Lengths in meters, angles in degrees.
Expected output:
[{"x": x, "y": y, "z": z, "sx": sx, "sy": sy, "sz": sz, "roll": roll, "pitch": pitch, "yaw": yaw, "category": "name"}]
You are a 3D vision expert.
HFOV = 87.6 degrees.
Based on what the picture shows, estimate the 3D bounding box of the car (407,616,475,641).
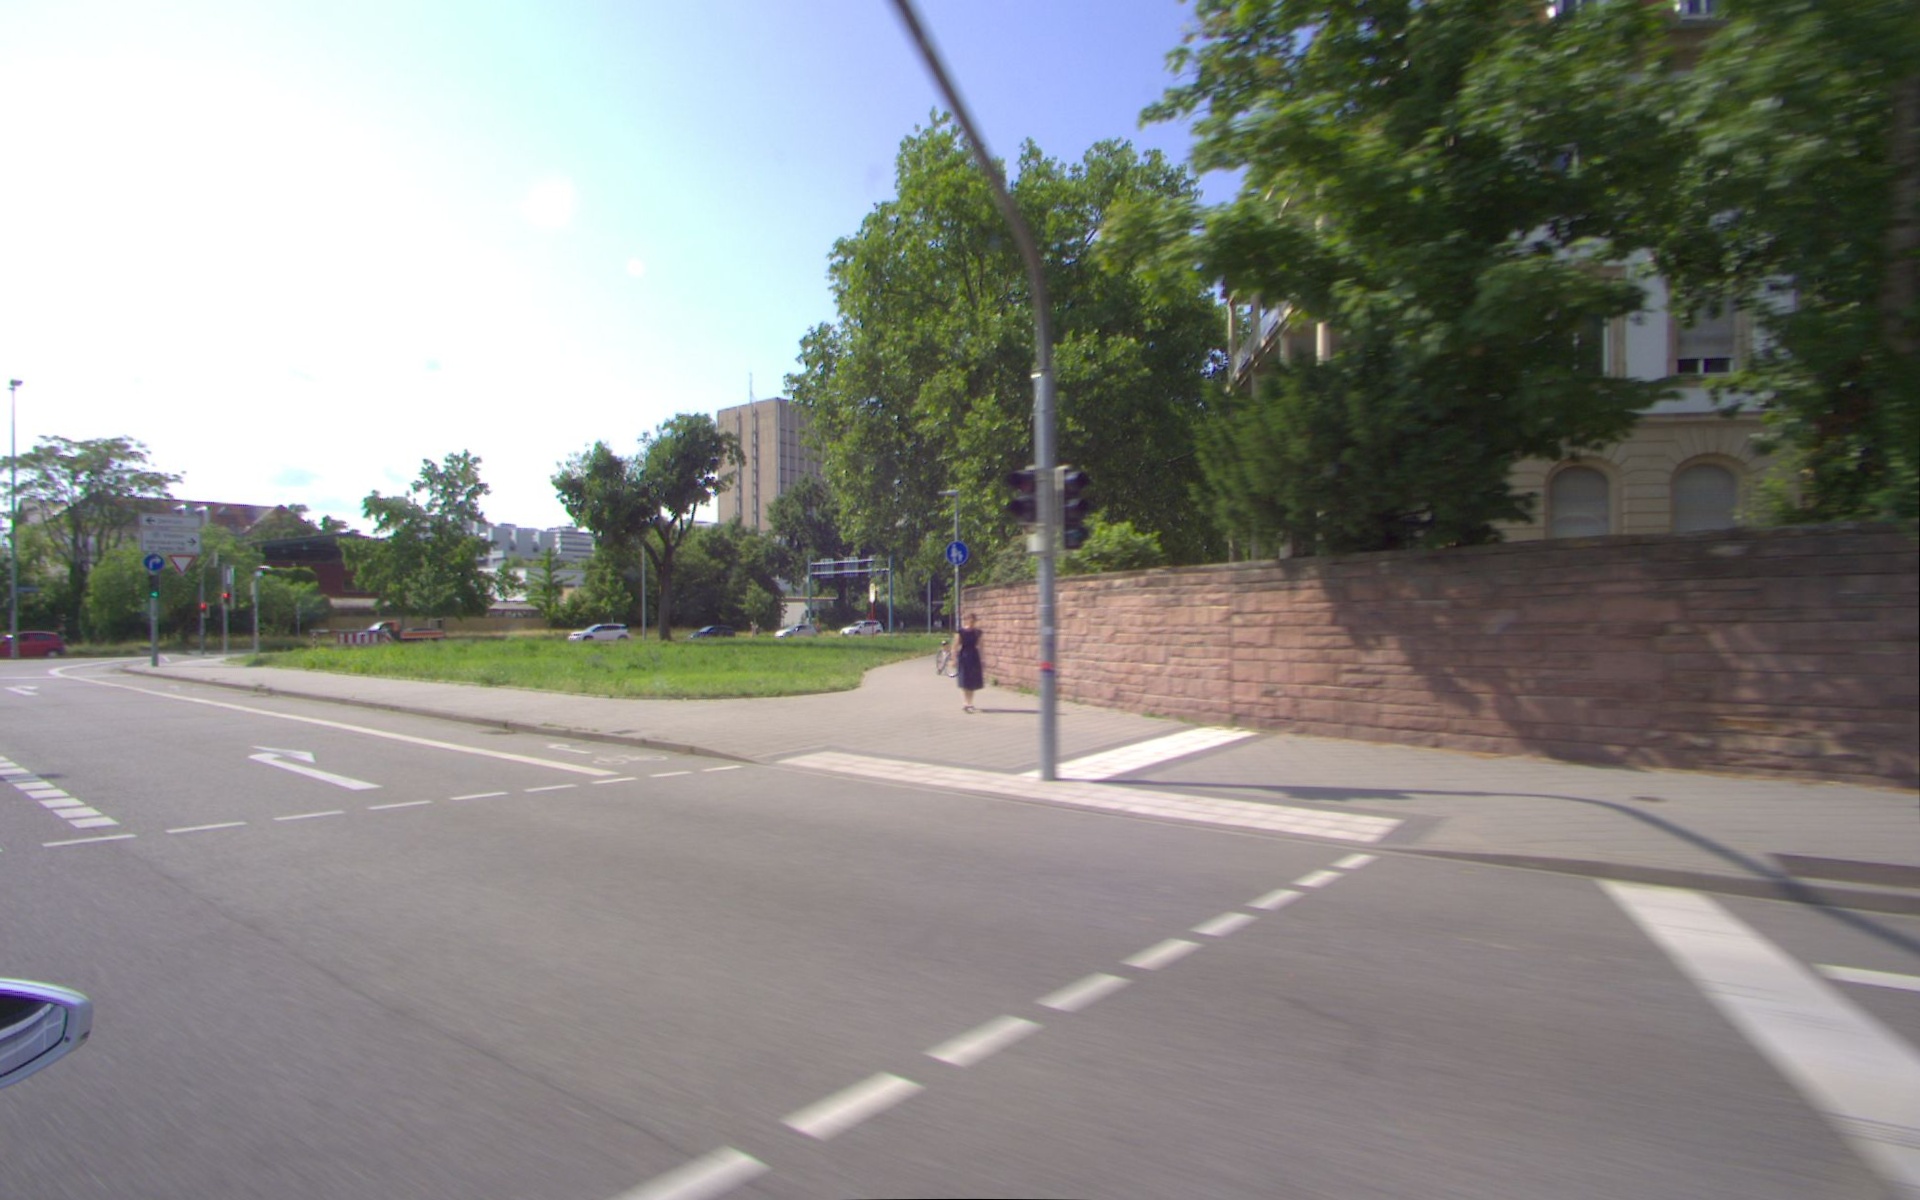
[{"x": -35.598, "y": 1.927, "z": 68.710, "sx": 3.883, "sy": 1.630, "sz": 1.611, "roll": 0, "pitch": -1, "yaw": -42, "category": "car"}]

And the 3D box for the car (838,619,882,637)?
[{"x": -9.315, "y": 2.600, "z": 93.466, "sx": 1.609, "sy": 1.630, "sz": 3.986, "roll": -1, "pitch": -1, "yaw": 43, "category": "car"}]

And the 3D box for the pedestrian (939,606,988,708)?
[{"x": 0.068, "y": 0.935, "z": 16.747, "sx": 0.735, "sy": 1.661, "sz": 0.887, "roll": -1, "pitch": 0, "yaw": 4, "category": "pedestrian"}]

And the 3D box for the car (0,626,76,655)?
[{"x": -48.954, "y": 2.126, "z": 52.569, "sx": 3.692, "sy": 1.475, "sz": 1.614, "roll": 0, "pitch": -1, "yaw": -38, "category": "car"}]

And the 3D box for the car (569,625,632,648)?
[{"x": -26.519, "y": 2.655, "z": 73.895, "sx": 1.609, "sy": 1.630, "sz": 4.129, "roll": -1, "pitch": -1, "yaw": 43, "category": "car"}]

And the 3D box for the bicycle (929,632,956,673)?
[{"x": -0.459, "y": 1.353, "z": 26.074, "sx": 0.633, "sy": 0.987, "sz": 1.594, "roll": -2, "pitch": 0, "yaw": -1, "category": "bicycle"}]

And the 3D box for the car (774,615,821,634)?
[{"x": -14.253, "y": 2.126, "z": 87.695, "sx": 1.609, "sy": 1.630, "sz": 3.889, "roll": -1, "pitch": -1, "yaw": 44, "category": "car"}]

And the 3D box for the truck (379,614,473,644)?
[{"x": -34.897, "y": 1.870, "z": 65.506, "sx": 5.079, "sy": 1.862, "sz": 1.982, "roll": 0, "pitch": -1, "yaw": -42, "category": "truck"}]
